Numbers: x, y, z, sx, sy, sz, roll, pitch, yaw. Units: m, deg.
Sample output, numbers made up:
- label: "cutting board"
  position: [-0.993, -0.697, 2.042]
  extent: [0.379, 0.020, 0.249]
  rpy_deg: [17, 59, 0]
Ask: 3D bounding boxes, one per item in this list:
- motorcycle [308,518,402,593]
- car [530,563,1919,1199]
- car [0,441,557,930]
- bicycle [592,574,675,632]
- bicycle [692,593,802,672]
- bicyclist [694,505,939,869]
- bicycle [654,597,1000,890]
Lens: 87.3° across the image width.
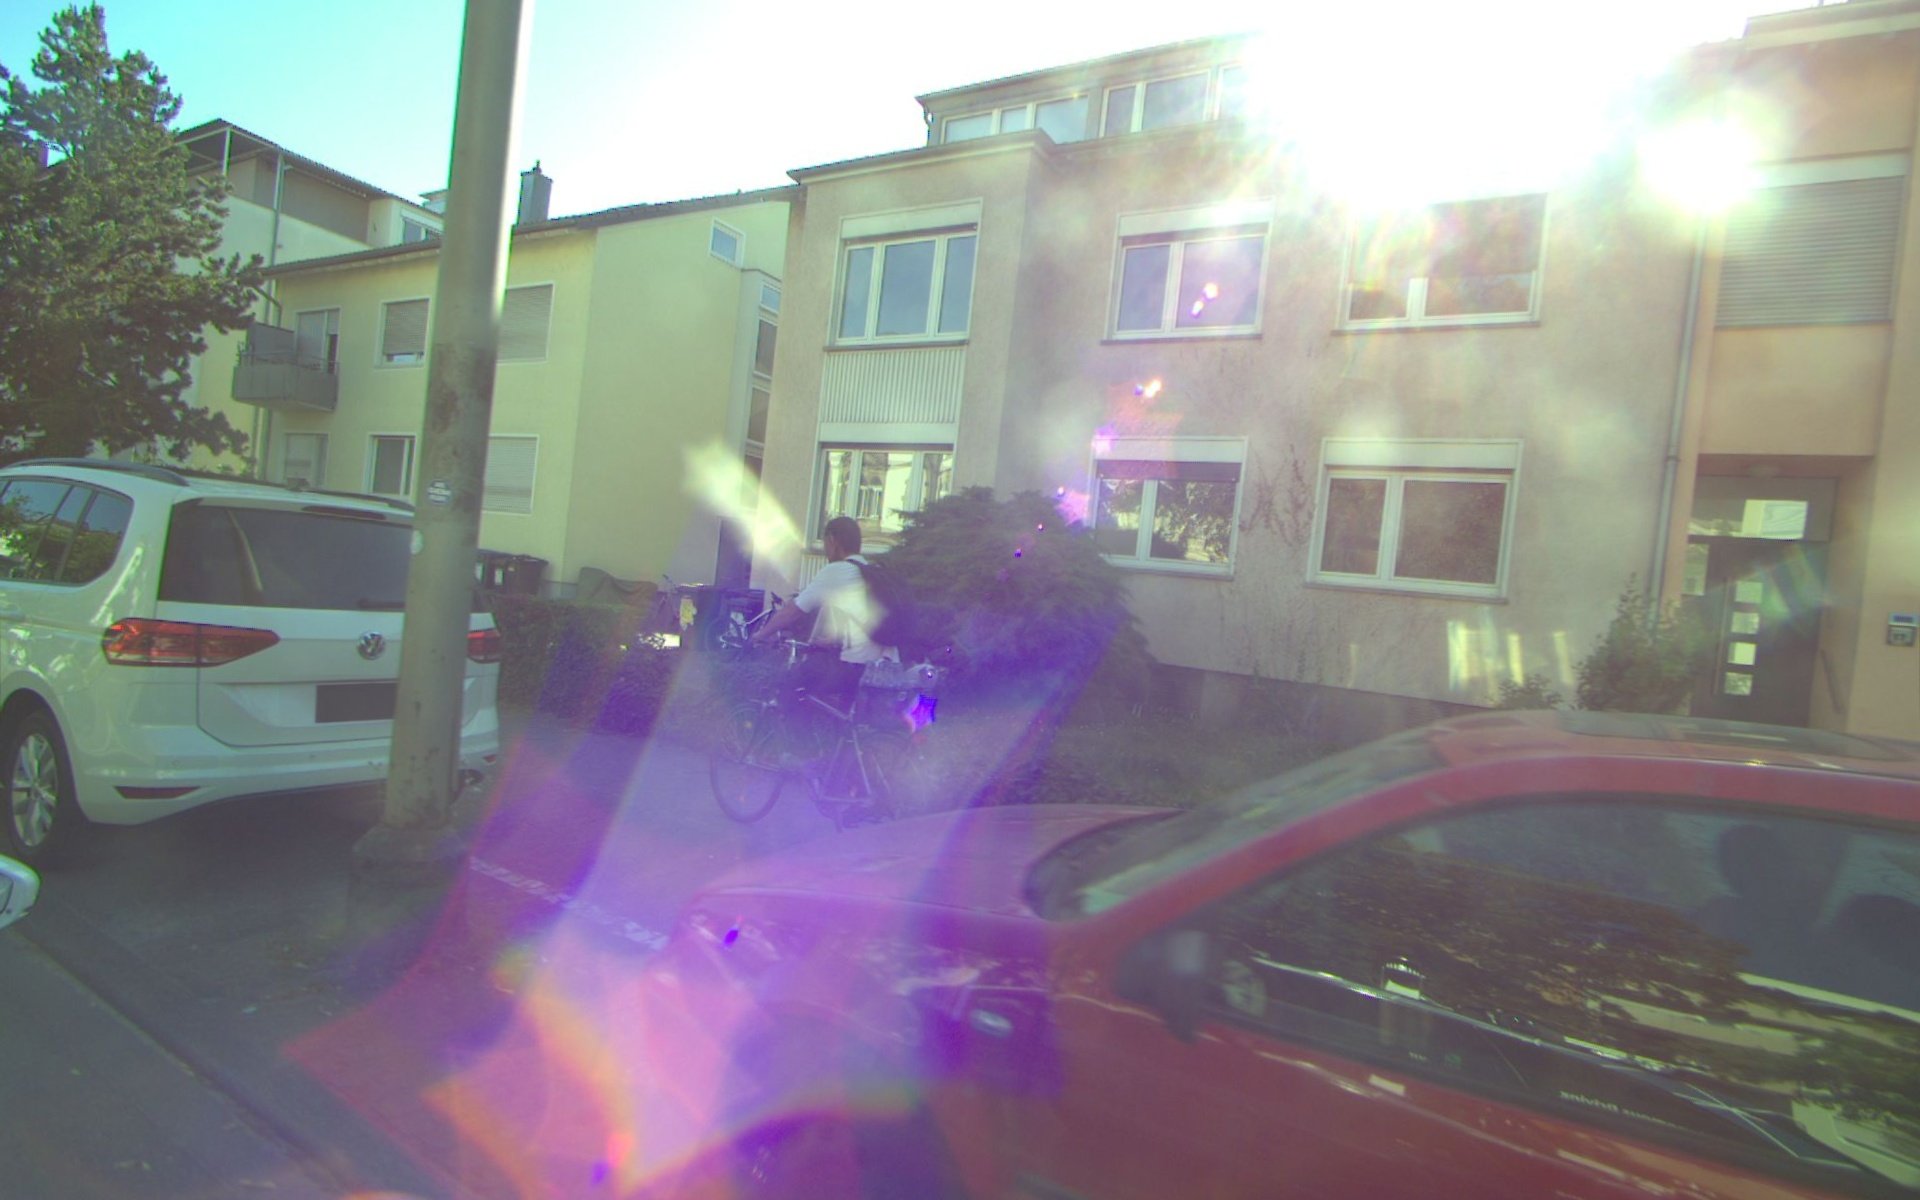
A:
- label: "motorcycle"
  position: [-13.179, -0.978, 21.880]
  extent: [2.385, 1.393, 0.636]
  rpy_deg: [7, 2, 32]
- label: "car"
  position: [1.043, 0.873, 1.998]
  extent: [3.655, 1.468, 1.533]
  rpy_deg: [7, 1, 30]
- label: "car"
  position: [-4.351, 0.142, 5.319]
  extent: [4.267, 1.680, 1.770]
  rpy_deg: [7, 1, 30]
- label: "bicycle"
  position: [-6.769, 0.082, 20.954]
  extent: [0.493, 1.026, 1.785]
  rpy_deg: [7, -2, 24]
- label: "bicycle"
  position: [-3.183, 0.467, 14.981]
  extent: [1.714, 1.006, 0.455]
  rpy_deg: [5, 2, 32]
- label: "bicyclist"
  position: [-0.811, 0.434, 5.676]
  extent: [0.999, 1.817, 0.724]
  rpy_deg: [7, 3, 32]
- label: "bicycle"
  position: [-0.781, 0.718, 5.659]
  extent: [1.791, 1.263, 0.698]
  rpy_deg: [7, 2, 32]
